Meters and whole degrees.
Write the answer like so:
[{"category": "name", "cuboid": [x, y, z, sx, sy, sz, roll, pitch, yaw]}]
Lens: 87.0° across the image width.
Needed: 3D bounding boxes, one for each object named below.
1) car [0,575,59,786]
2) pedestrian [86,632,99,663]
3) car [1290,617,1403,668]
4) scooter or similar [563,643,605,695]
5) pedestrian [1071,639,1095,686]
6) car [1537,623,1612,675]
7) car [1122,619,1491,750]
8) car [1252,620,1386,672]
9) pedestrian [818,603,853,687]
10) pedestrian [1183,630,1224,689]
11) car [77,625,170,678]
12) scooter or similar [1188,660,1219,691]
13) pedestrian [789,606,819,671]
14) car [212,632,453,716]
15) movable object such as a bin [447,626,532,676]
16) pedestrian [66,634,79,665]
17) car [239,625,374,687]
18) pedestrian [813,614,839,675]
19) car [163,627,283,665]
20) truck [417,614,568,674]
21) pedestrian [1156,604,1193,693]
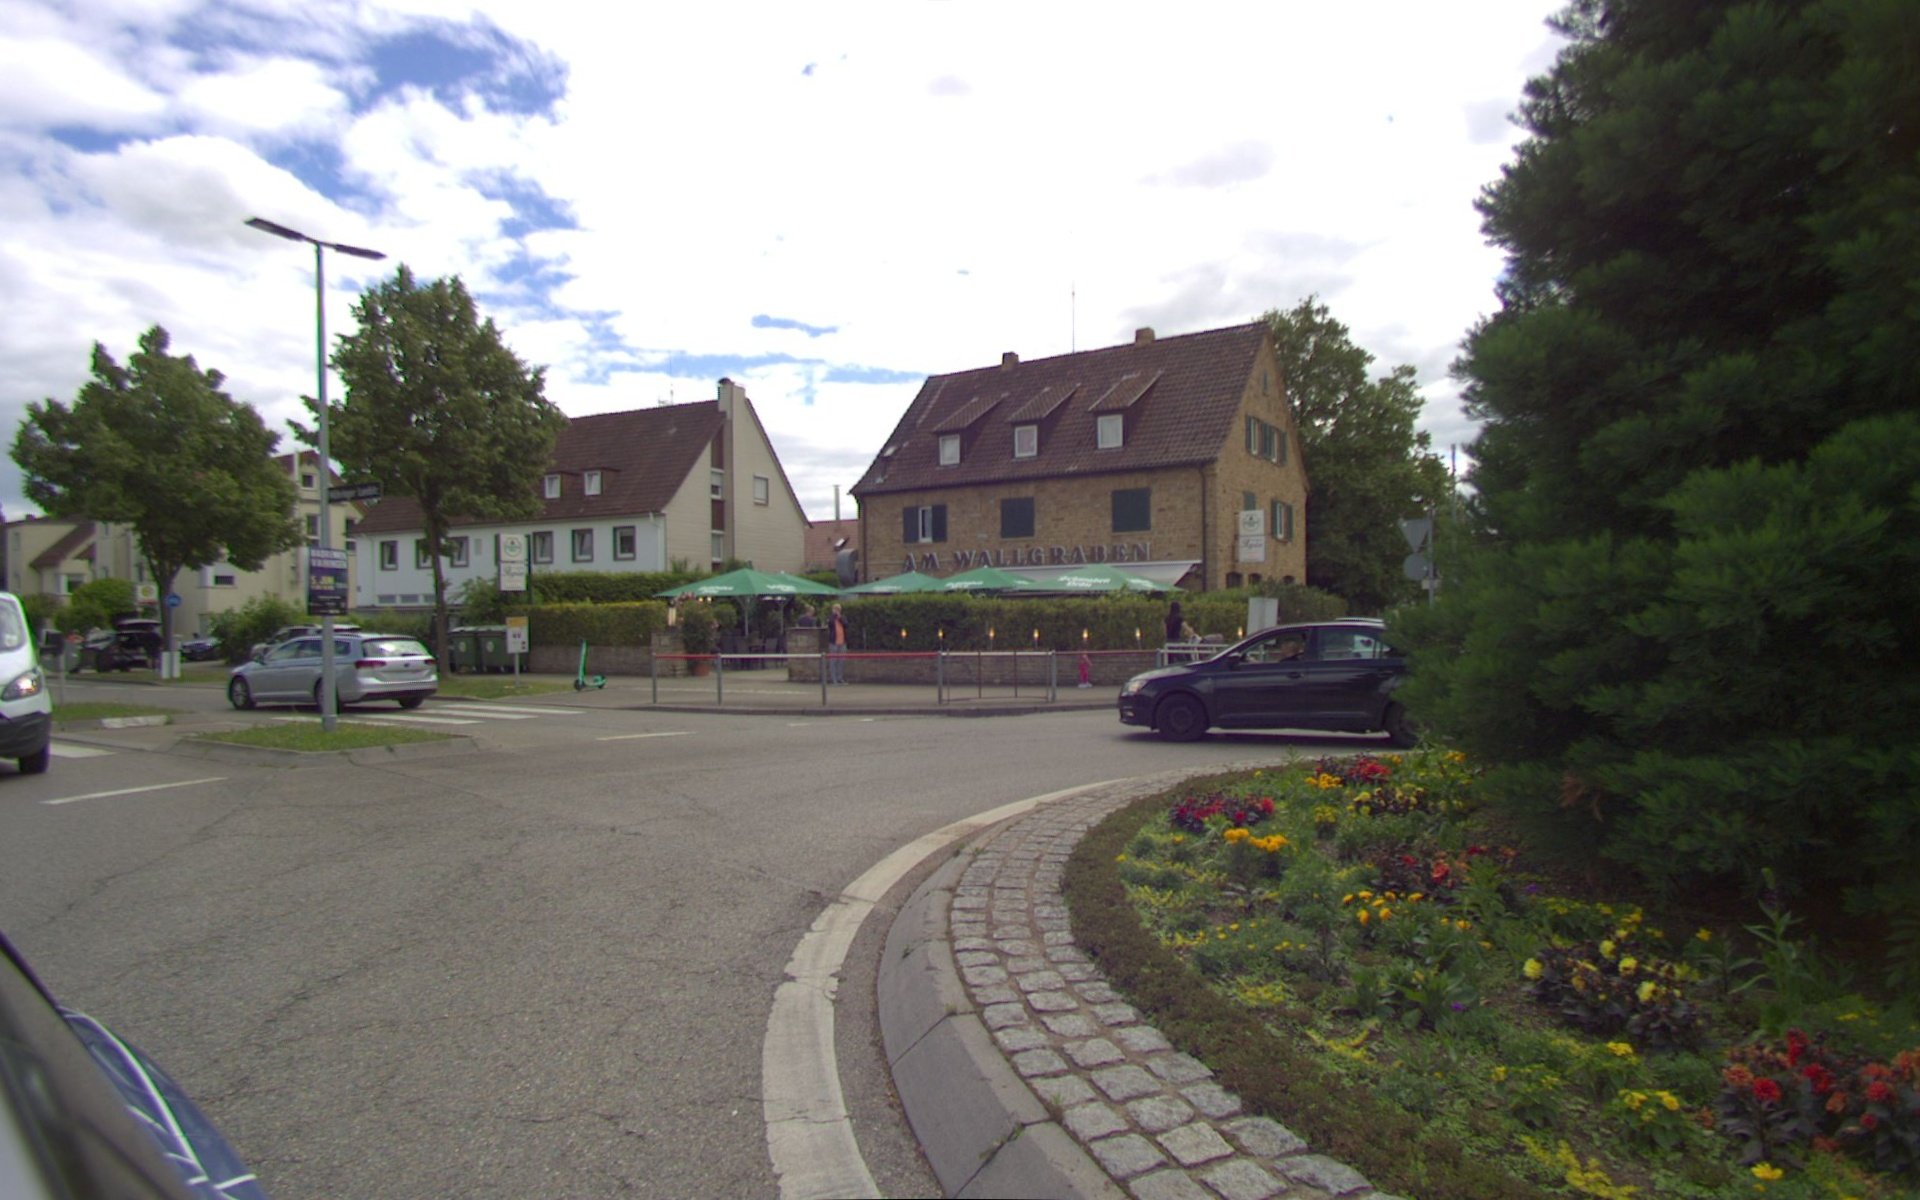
[{"category": "car", "cuboid": [-11.542, 0.845, 10.934, 5.045, 2.029, 1.974, -2, -1, 40]}, {"category": "pedestrian", "cuboid": [-39.295, 2.167, 45.842, 0.412, 1.375, 0.382, -2, -1, 35]}, {"category": "car", "cuboid": [12.521, 1.335, 32.835, 3.222, 1.512, 1.381, 0, 0, 35]}, {"category": "scooter or similar", "cuboid": [-8.508, 1.550, 22.922, 0.377, 1.140, 1.044, -1, -1, 11]}, {"category": "pedestrian", "cuboid": [2.495, 1.263, 20.469, 0.423, 0.919, 0.340, -2, 1, 11]}, {"category": "car", "cuboid": [17.728, 1.362, 29.132, 1.695, 1.343, 3.573, -2, -1, 33]}, {"category": "car", "cuboid": [4.063, 0.958, 12.210, 3.952, 1.386, 1.529, -1, -3, 21]}, {"category": "car", "cuboid": [11.047, 1.376, 31.233, 3.665, 1.430, 1.451, 0, 0, 35]}, {"category": "pedestrian", "cuboid": [-2.781, 1.000, 22.661, 0.560, 1.840, 0.636, -2, -1, 9]}, {"category": "pedestrian", "cuboid": [4.683, 1.137, 19.482, 0.445, 1.108, 0.591, -1, -2, -38]}, {"category": "car", "cuboid": [-31.415, 1.921, 37.969, 4.039, 1.843, 1.731, -2, -1, 36]}, {"category": "scooter or similar", "cuboid": [4.676, 1.439, 19.447, 0.355, 0.566, 0.431, -1, -2, -38]}, {"category": "pedestrian", "cuboid": [-4.461, 1.091, 28.877, 0.628, 1.841, 0.568, 0, -2, -40]}, {"category": "car", "cuboid": [-12.178, 1.392, 19.595, 4.666, 1.465, 1.791, -2, -2, 26]}, {"category": "movable object such as a bin", "cuboid": [-14.197, 1.540, 30.524, 2.713, 1.427, 0.974, -2, -1, 32]}, {"category": "pedestrian", "cuboid": [-40.218, 2.258, 45.859, 0.412, 1.375, 0.382, -2, -1, 35]}, {"category": "car", "cuboid": [-18.981, 1.600, 29.358, 4.033, 1.648, 1.734, -2, -1, 32]}, {"category": "pedestrian", "cuboid": [-3.884, 1.286, 29.369, 0.482, 1.740, 0.568, 0, -2, -40]}, {"category": "car", "cuboid": [-33.090, 2.050, 45.539, 1.744, 1.551, 4.009, -2, -1, 28]}, {"category": "truck", "cuboid": [-15.752, 1.451, 34.362, 1.857, 1.864, 4.457, -2, -1, 28]}, {"category": "pedestrian", "cuboid": [4.079, 0.916, 19.269, 0.605, 1.646, 0.451, -2, -2, 11]}]
